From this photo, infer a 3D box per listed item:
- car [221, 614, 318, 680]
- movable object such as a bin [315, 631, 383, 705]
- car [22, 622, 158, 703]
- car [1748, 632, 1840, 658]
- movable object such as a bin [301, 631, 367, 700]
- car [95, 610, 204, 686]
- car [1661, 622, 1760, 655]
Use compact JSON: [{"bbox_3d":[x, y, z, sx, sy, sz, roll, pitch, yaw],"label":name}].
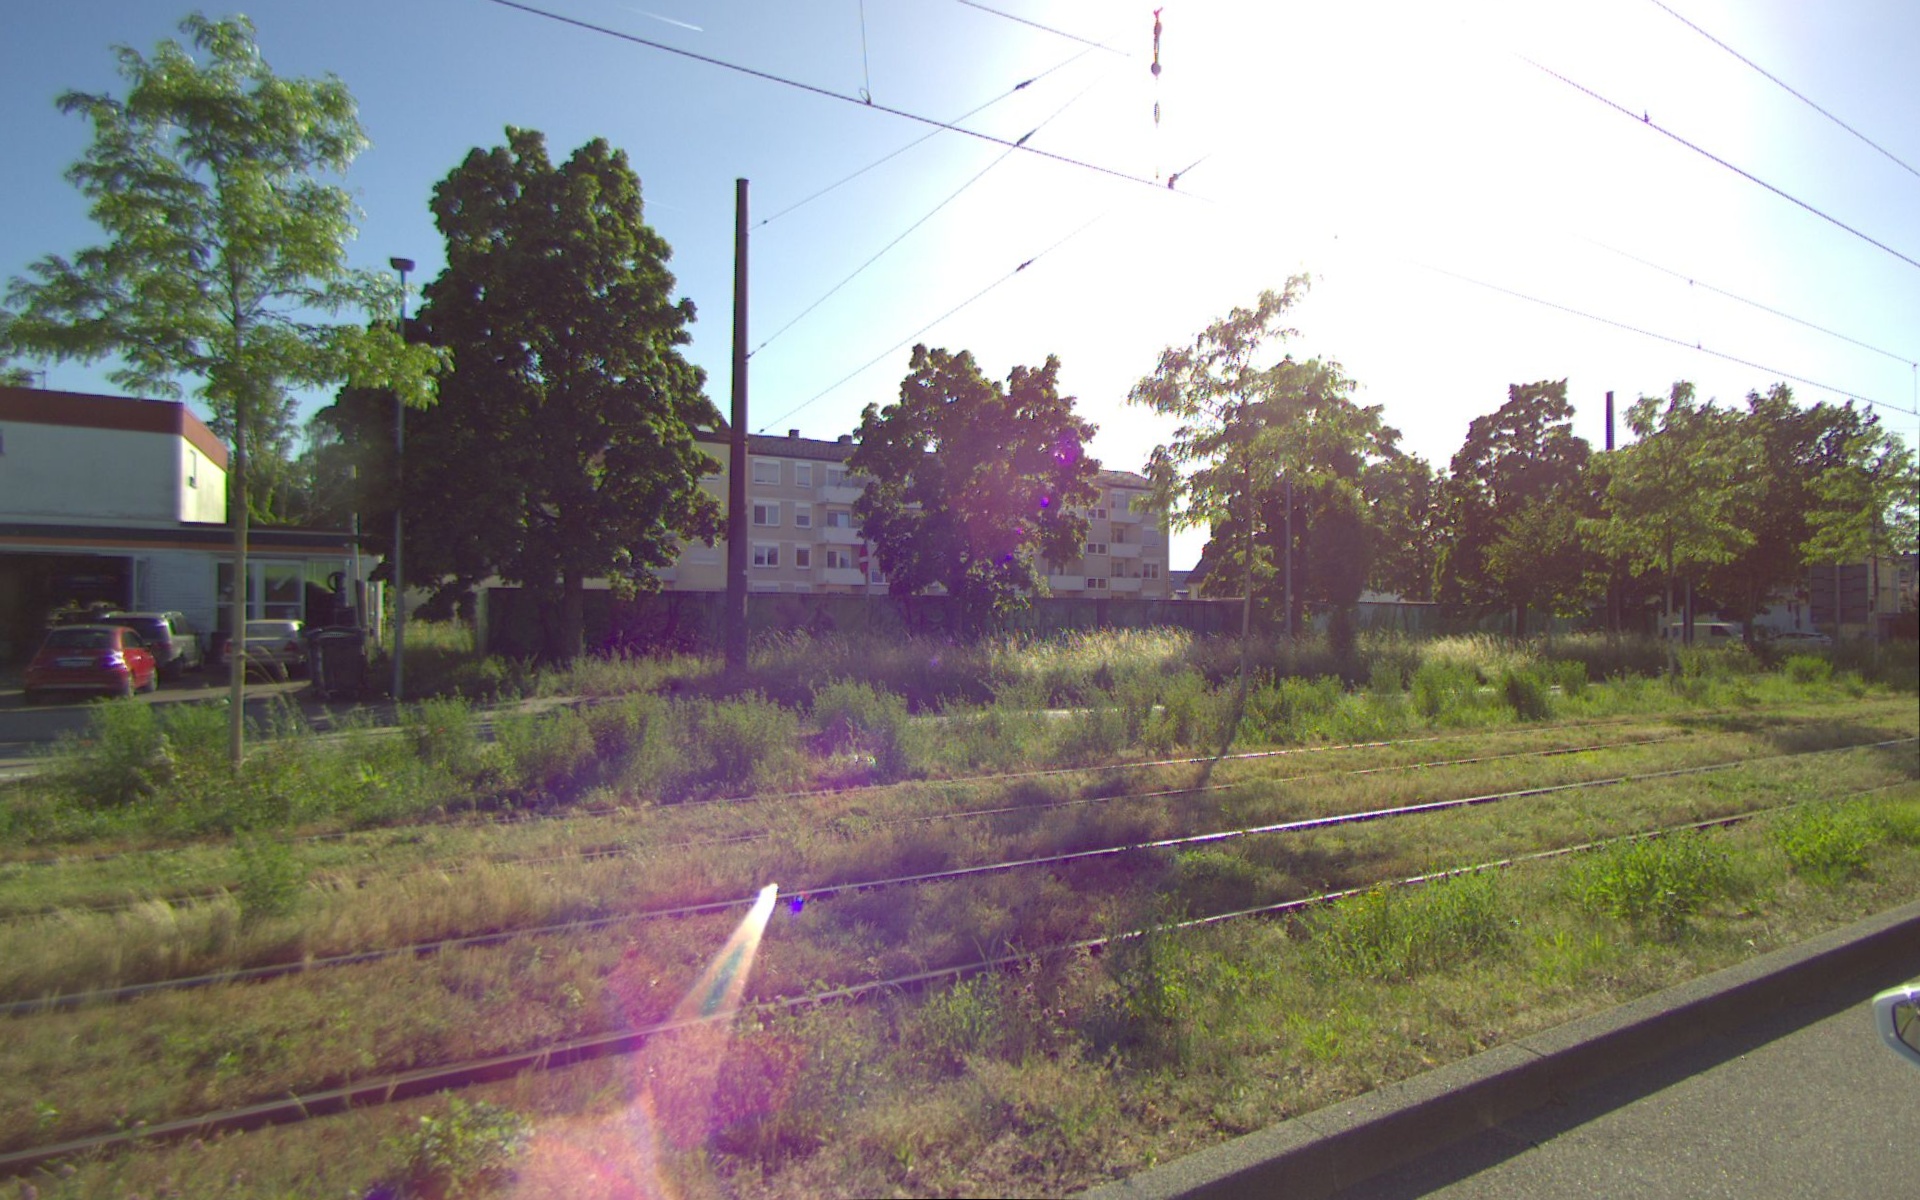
[{"bbox_3d":[-17.948,1.165,26.243,1.684,1.529,3.801,1,0,-29],"label":"car"},{"bbox_3d":[-12.266,1.341,20.159,1.109,1.387,1.216,2,-1,-33],"label":"movable object such as a bin"},{"bbox_3d":[-18.237,1.247,21.208,1.624,1.532,3.679,1,-2,-33],"label":"car"},{"bbox_3d":[51.003,2.720,61.505,1.832,1.422,3.968,4,-3,-30],"label":"car"},{"bbox_3d":[-13.144,1.353,21.098,1.109,1.382,1.216,2,-2,-33],"label":"movable object such as a bin"},{"bbox_3d":[-20.157,1.132,25.119,1.687,1.655,3.722,1,0,-33],"label":"car"},{"bbox_3d":[47.011,2.375,63.007,1.881,1.940,4.664,1,-1,-30],"label":"car"}]
